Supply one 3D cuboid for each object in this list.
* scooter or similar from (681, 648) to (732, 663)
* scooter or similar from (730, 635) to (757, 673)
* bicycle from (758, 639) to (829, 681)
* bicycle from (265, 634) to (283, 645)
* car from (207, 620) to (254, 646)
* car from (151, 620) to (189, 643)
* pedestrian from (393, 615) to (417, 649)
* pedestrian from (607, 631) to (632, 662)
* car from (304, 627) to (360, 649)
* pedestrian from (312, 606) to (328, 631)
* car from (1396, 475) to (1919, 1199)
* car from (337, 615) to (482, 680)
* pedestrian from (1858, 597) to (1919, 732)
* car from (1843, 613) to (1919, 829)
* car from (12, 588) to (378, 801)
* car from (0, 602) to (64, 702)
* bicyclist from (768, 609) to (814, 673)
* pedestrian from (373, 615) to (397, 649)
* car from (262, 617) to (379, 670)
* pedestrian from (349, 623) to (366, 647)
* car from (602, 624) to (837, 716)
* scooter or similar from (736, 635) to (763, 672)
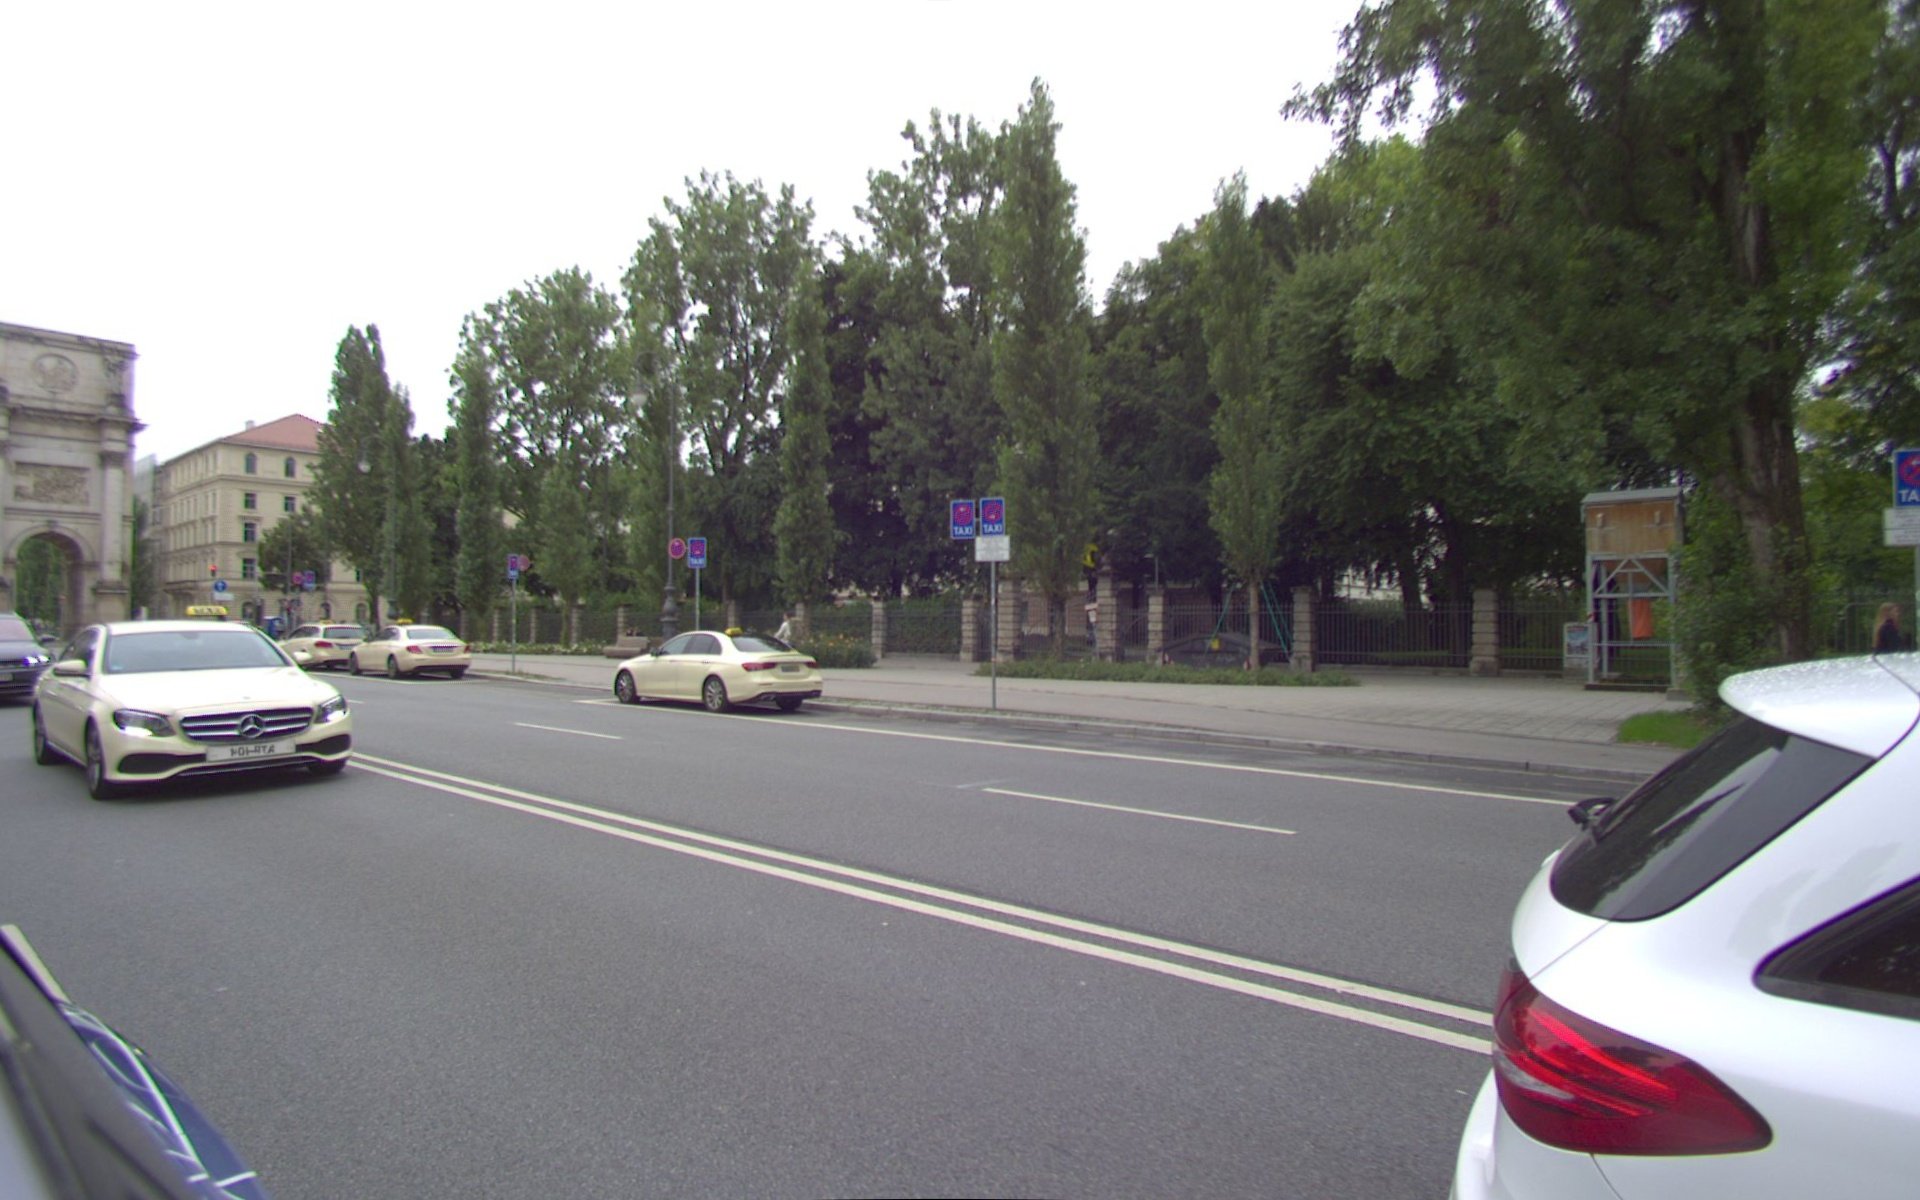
[{"bbox_3d":[-9.222,2.012,36.926,1.314,0.522,2.236,0,-2,0],"label":"scooter or similar"},{"bbox_3d":[-7.121,1.765,33.254,1.122,1.210,0.240,-1,-2,41],"label":"scooter or similar"},{"bbox_3d":[-3.994,1.416,24.203,1.733,0.946,0.700,-1,-1,39],"label":"bicycle"},{"bbox_3d":[-58.394,3.369,86.171,1.757,0.981,0.636,-1,-2,35],"label":"bicycle"},{"bbox_3d":[-57.444,2.586,79.691,4.990,1.869,1.977,0,-3,42],"label":"car"},{"bbox_3d":[-59.517,2.399,76.224,1.761,1.684,4.002,2,-2,-45],"label":"car"},{"bbox_3d":[-27.976,1.618,51.023,0.834,1.691,0.967,2,-3,-43],"label":"pedestrian"},{"bbox_3d":[-14.648,2.002,43.596,0.832,1.347,0.575,0,-2,14],"label":"pedestrian"},{"bbox_3d":[-58.608,3.514,94.485,1.998,2.029,3.946,-1,-2,40],"label":"car"},{"bbox_3d":[-52.887,1.538,83.583,0.747,2.029,0.793,0,-2,6],"label":"pedestrian"},{"bbox_3d":[2.888,0.593,0.511,4.580,1.465,1.807,-1,-1,41],"label":"car"},{"bbox_3d":[-15.571,1.287,28.526,4.962,1.637,1.917,0,-2,41],"label":"car"},{"bbox_3d":[12.419,0.833,13.352,0.786,1.733,0.577,-1,-2,39],"label":"pedestrian"},{"bbox_3d":[9.206,0.914,6.983,4.610,1.608,1.764,-1,-4,40],"label":"car"},{"bbox_3d":[-7.580,0.716,9.828,4.686,1.587,1.895,-1,0,41],"label":"car"},{"bbox_3d":[-17.538,0.880,17.915,4.409,1.636,1.928,-1,0,41],"label":"car"},{"bbox_3d":[-4.052,0.974,24.251,0.860,1.510,0.687,-1,-3,39],"label":"bicyclist"},{"bbox_3d":[-28.773,1.615,50.628,0.834,1.691,0.967,2,-3,-43],"label":"pedestrian"},{"bbox_3d":[-20.845,1.385,32.927,4.855,1.571,1.799,-1,-4,40],"label":"car"},{"bbox_3d":[-47.002,2.737,78.954,0.753,1.799,0.904,-1,-2,36],"label":"pedestrian"},{"bbox_3d":[-4.614,1.248,19.003,4.788,1.509,1.910,-2,-3,42],"label":"car"},{"bbox_3d":[-6.949,1.767,33.451,1.122,1.210,0.240,-1,-2,41],"label":"scooter or similar"}]
